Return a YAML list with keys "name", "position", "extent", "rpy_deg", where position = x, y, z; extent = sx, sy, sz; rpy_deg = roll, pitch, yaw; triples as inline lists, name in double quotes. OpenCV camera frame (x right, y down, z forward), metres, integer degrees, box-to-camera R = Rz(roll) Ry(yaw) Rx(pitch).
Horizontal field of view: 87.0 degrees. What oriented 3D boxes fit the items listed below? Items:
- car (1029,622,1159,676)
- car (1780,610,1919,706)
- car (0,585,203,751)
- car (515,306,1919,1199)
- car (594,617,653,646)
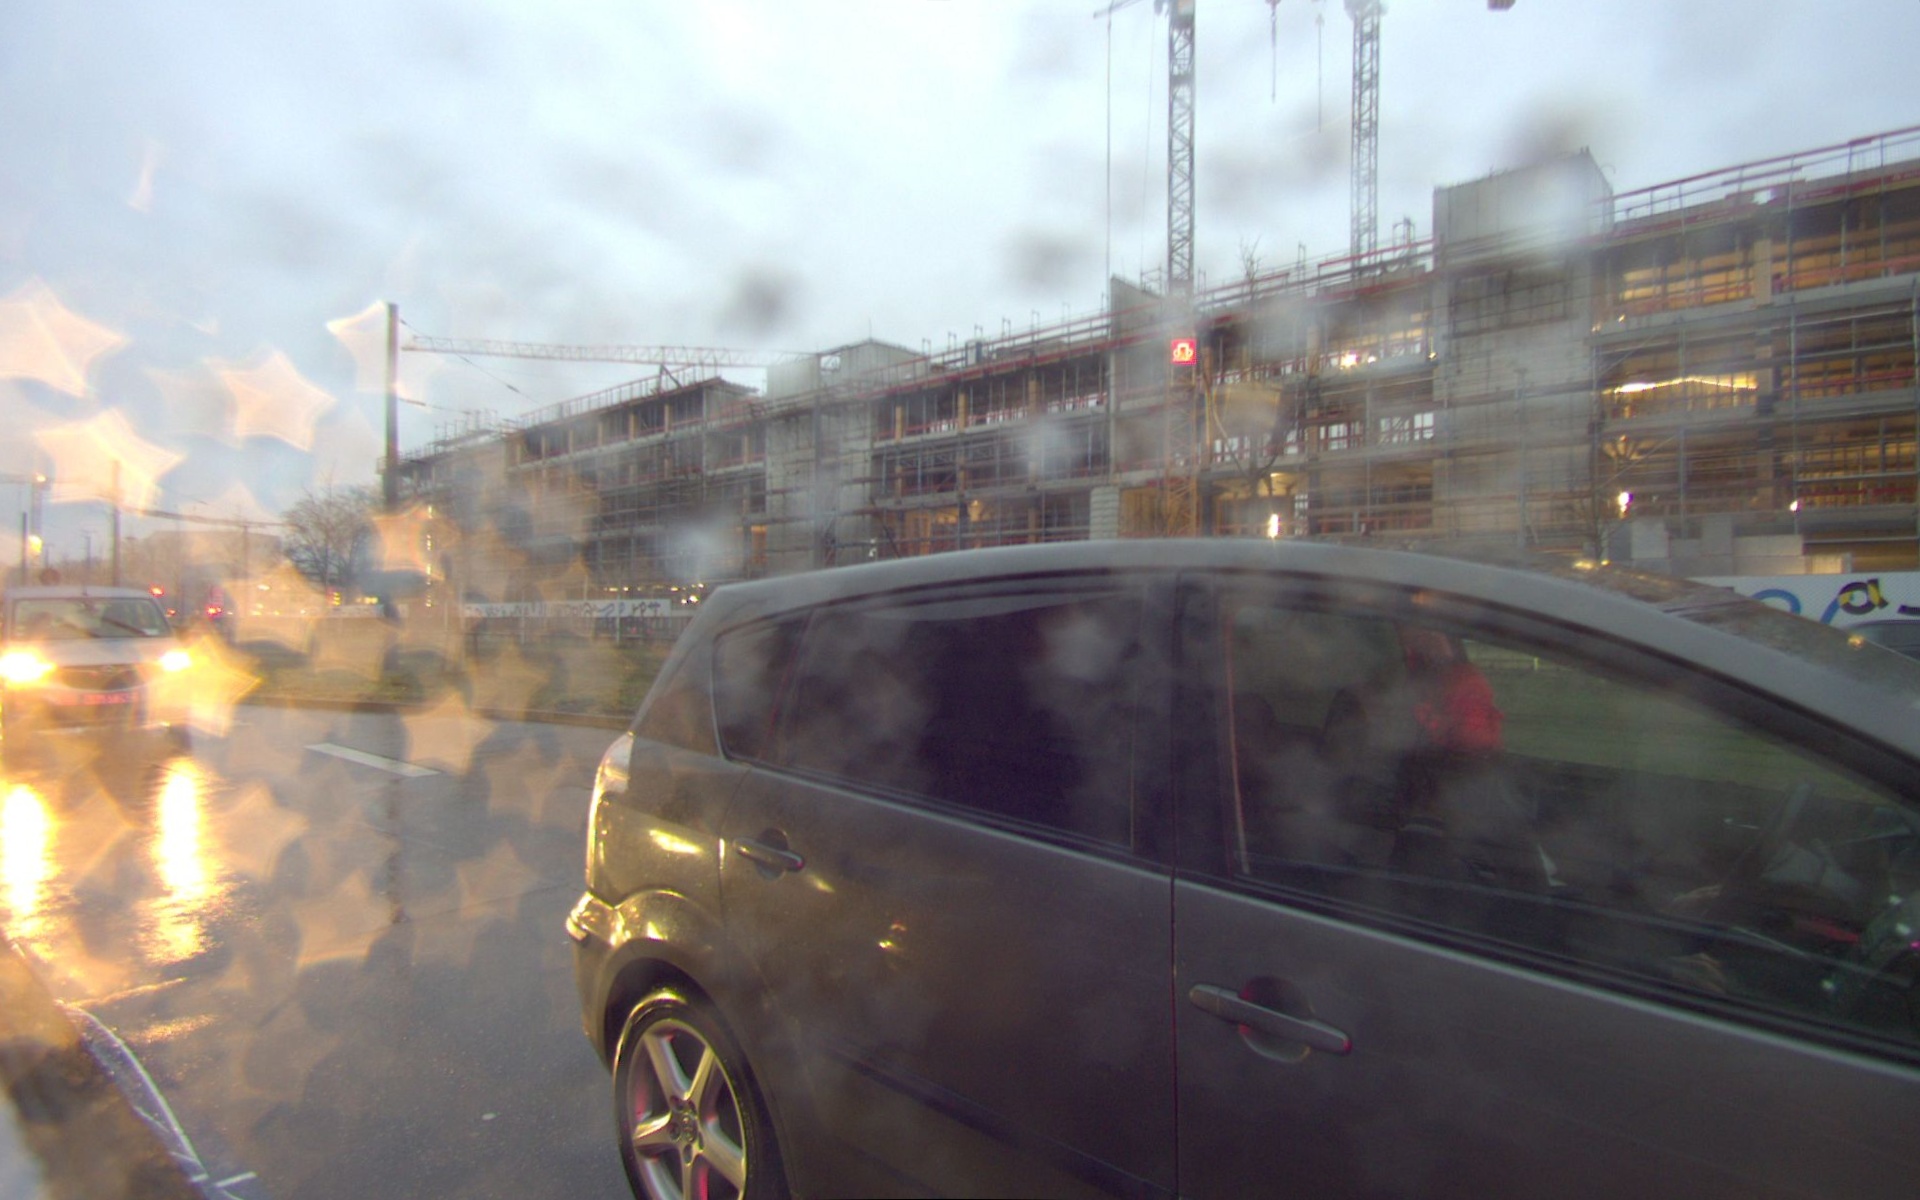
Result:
- name: "car"
  position: [4.623, 1.643, 35.130]
  extent: [4.082, 1.700, 1.932]
  rpy_deg: [-1, 0, 41]
- name: "car"
  position: [22.215, 1.315, 23.905]
  extent: [1.927, 2.139, 4.092]
  rpy_deg: [-1, 0, -37]
- name: "car"
  position: [-10.997, 0.727, 12.615]
  extent: [4.000, 1.746, 1.833]
  rpy_deg: [-1, 0, 43]
- name: "car"
  position: [1.033, 0.548, 1.828]
  extent: [3.996, 1.606, 1.742]
  rpy_deg: [-1, 0, 39]
- name: "car"
  position: [-22.205, 2.063, 66.659]
  extent: [3.999, 1.785, 1.972]
  rpy_deg: [-1, 0, 42]
